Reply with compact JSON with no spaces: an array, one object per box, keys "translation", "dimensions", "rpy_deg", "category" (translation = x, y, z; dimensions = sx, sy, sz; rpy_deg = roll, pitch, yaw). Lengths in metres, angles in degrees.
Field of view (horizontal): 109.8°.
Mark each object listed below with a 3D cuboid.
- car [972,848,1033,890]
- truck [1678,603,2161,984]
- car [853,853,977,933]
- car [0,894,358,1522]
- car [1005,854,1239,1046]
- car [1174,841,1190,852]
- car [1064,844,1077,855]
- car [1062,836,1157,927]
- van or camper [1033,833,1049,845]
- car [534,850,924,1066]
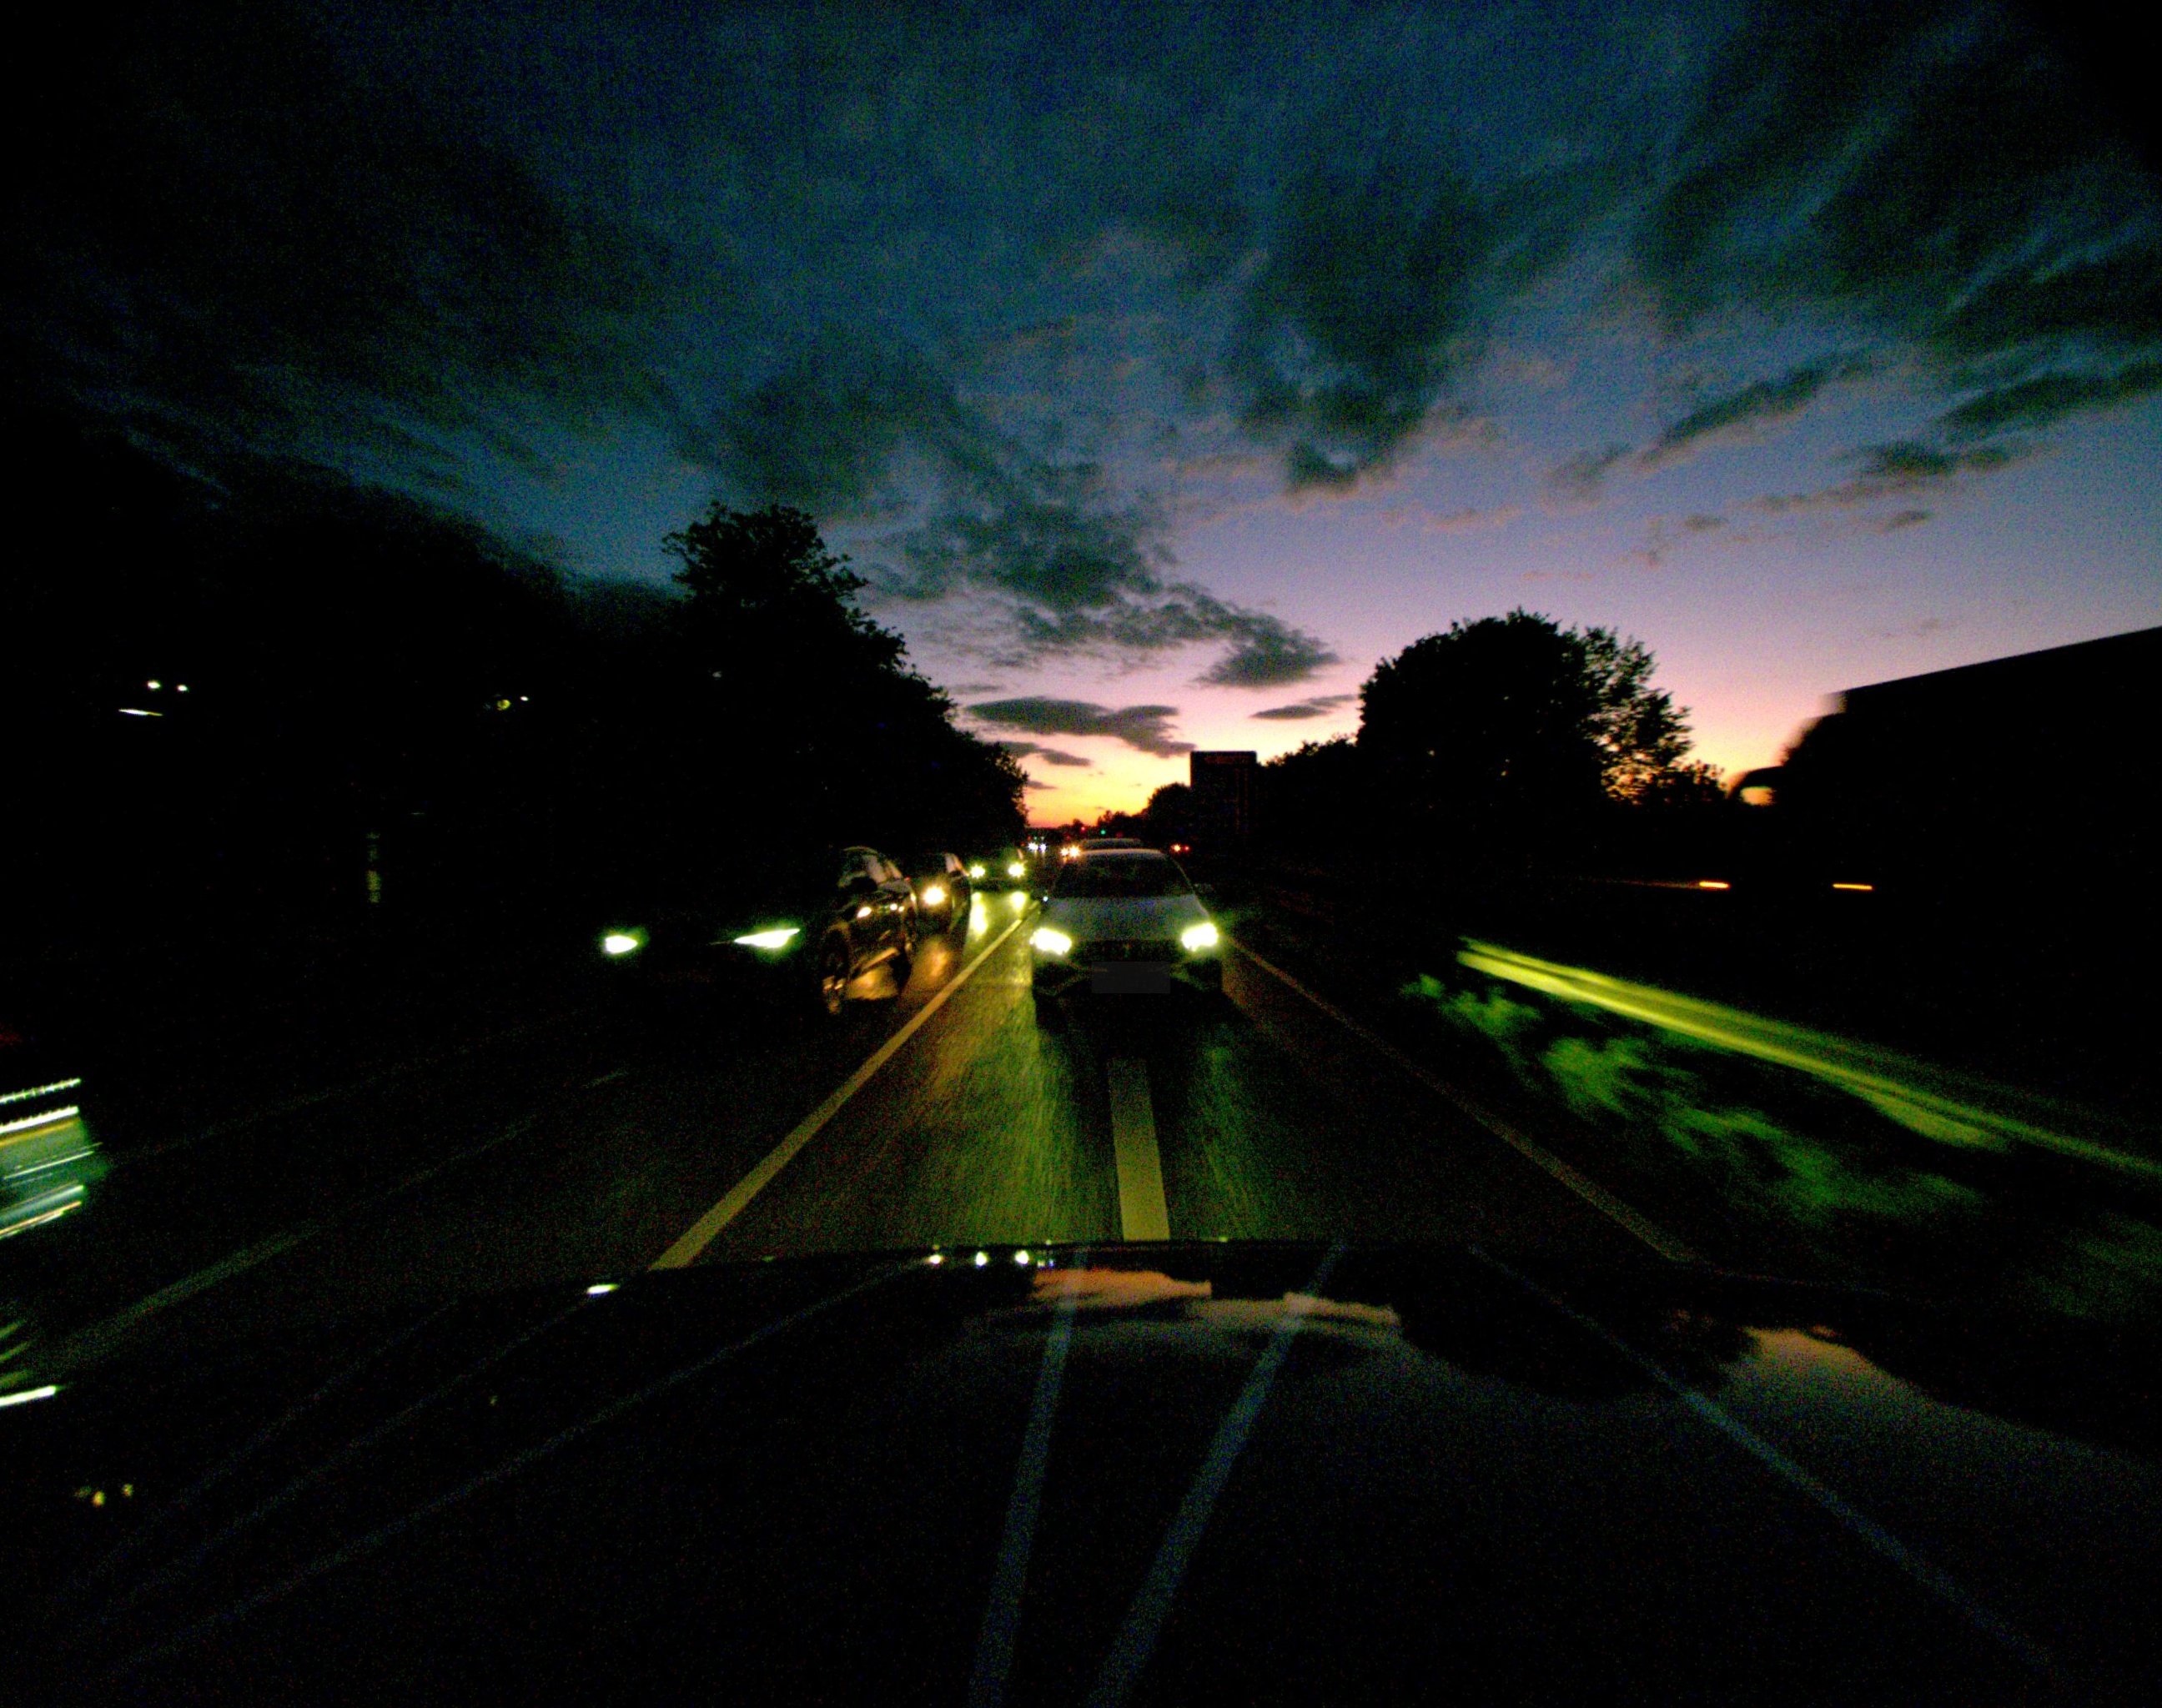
[{"translation":[-2.966,0.518,29.383],"dimensions":[1.819,1.360,3.999],"rpy_deg":[-2,2,1],"category":"car"},{"translation":[13.022,-0.718,9.748],"dimensions":[2.732,4.094,10.343],"rpy_deg":[-1,2,1],"category":"truck"},{"translation":[-3.320,0.726,15.904],"dimensions":[1.621,1.405,3.755],"rpy_deg":[-1,1,2],"category":"car"},{"translation":[-3.641,0.997,0.999],"dimensions":[1.663,1.528,3.714],"rpy_deg":[-2,2,2],"category":"car"},{"translation":[0.408,0.784,8.463],"dimensions":[1.819,1.428,4.646],"rpy_deg":[-3,1,2],"category":"car"},{"translation":[14.310,-1.074,107.856],"dimensions":[1.632,1.496,4.590],"rpy_deg":[0,1,0],"category":"car"},{"translation":[-1.314,-0.604,92.478],"dimensions":[1.606,1.291,3.552],"rpy_deg":[0,1,-1],"category":"car"},{"translation":[0.620,0.518,16.735],"dimensions":[1.760,1.692,4.249],"rpy_deg":[-2,1,2],"category":"car"},{"translation":[-11.057,-4.163,209.082],"dimensions":[3.951,3.107,9.935],"rpy_deg":[0,1,-5],"category":"van or camper"},{"translation":[-3.151,0.792,7.985],"dimensions":[1.901,1.548,4.300],"rpy_deg":[-3,1,2],"category":"car"}]
